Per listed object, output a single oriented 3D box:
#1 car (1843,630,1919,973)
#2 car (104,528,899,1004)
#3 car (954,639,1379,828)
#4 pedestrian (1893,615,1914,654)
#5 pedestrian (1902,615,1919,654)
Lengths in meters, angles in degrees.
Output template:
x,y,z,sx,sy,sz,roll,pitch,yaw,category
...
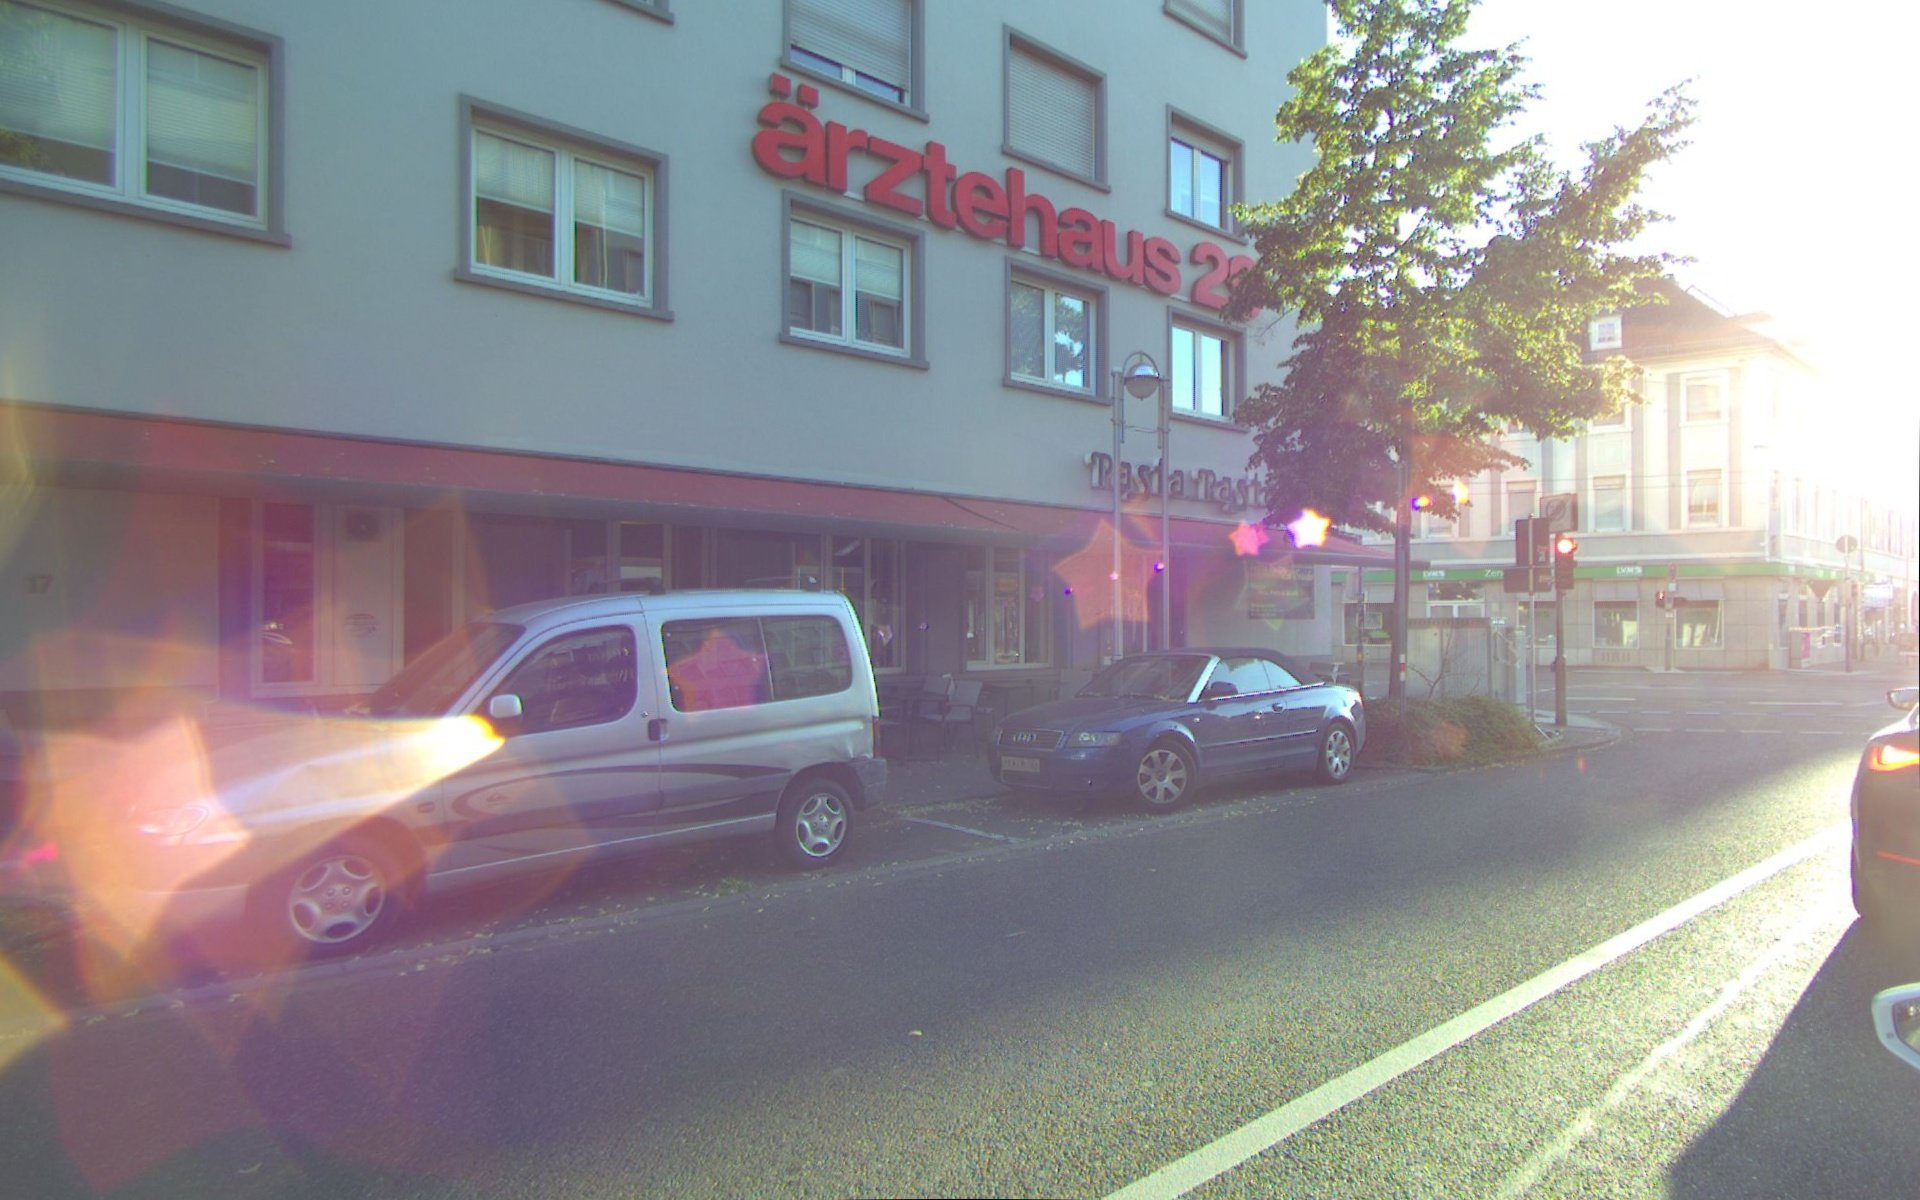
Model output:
x,y,z,sx,sy,sz,roll,pitch,yaw,category
6.073,0.895,5.112,4.188,1.447,1.723,1,-1,-39,car
-2.464,0.750,6.021,4.022,1.912,1.655,2,-4,-41,car
2.126,1.117,9.697,4.244,1.434,1.710,2,-4,-39,car
46.343,1.698,49.339,0.626,1.901,0.638,1,0,-38,pedestrian
47.105,1.715,49.557,0.605,1.901,0.678,1,0,1,pedestrian
